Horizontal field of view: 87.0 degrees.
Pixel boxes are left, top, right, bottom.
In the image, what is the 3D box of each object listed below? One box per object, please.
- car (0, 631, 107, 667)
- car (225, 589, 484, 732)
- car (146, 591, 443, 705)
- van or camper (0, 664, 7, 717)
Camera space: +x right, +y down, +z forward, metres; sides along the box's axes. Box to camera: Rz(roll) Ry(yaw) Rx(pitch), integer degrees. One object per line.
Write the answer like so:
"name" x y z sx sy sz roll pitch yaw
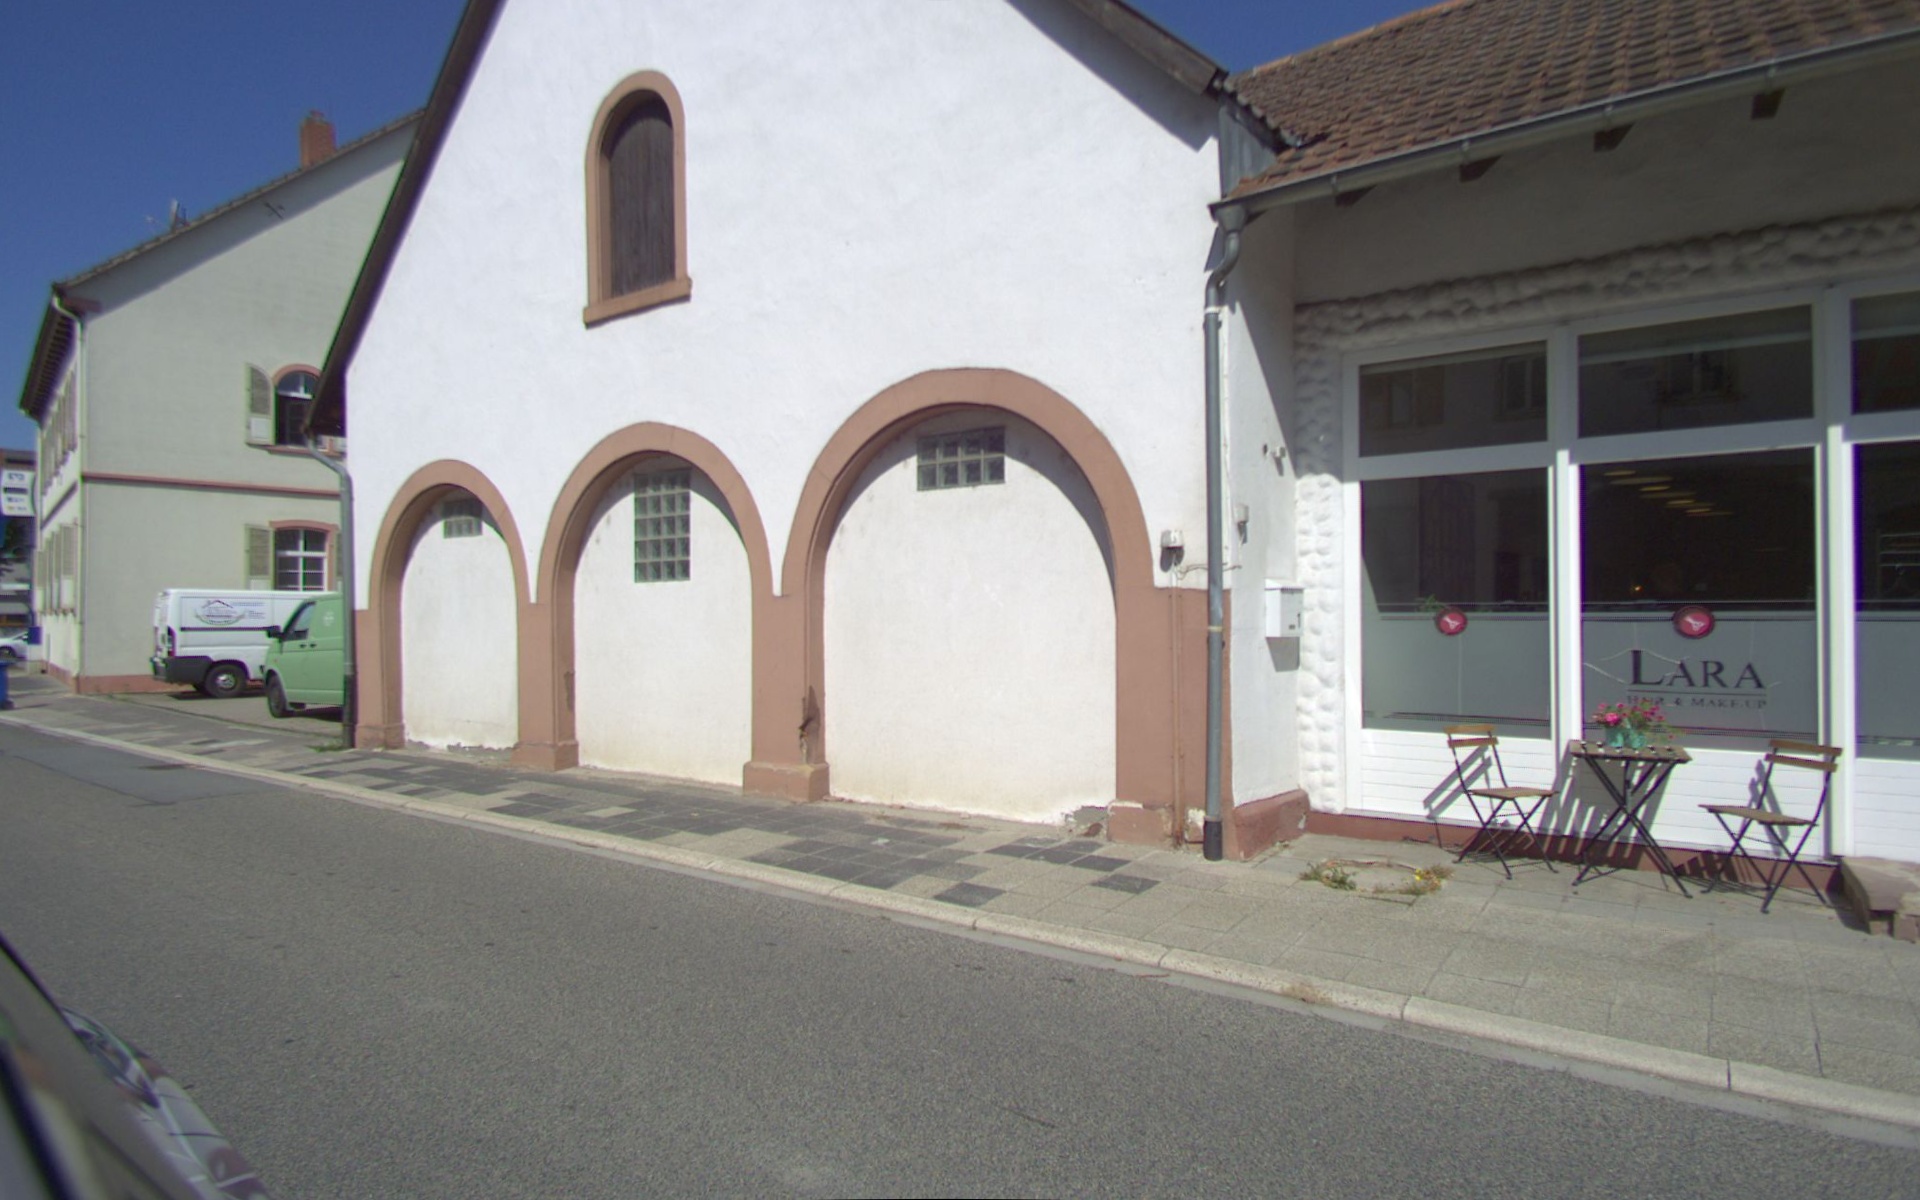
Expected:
"car" -39.781 2.092 43.501 1.849 1.451 4.463 -1 -2 32
"car" -9.765 0.899 16.200 4.661 1.979 1.975 -2 -2 37
"car" -14.391 0.951 22.108 5.115 2.213 2.124 0 -2 -44
"van or camper" -18.128 1.690 18.776 0.600 0.959 0.583 -2 -2 41
